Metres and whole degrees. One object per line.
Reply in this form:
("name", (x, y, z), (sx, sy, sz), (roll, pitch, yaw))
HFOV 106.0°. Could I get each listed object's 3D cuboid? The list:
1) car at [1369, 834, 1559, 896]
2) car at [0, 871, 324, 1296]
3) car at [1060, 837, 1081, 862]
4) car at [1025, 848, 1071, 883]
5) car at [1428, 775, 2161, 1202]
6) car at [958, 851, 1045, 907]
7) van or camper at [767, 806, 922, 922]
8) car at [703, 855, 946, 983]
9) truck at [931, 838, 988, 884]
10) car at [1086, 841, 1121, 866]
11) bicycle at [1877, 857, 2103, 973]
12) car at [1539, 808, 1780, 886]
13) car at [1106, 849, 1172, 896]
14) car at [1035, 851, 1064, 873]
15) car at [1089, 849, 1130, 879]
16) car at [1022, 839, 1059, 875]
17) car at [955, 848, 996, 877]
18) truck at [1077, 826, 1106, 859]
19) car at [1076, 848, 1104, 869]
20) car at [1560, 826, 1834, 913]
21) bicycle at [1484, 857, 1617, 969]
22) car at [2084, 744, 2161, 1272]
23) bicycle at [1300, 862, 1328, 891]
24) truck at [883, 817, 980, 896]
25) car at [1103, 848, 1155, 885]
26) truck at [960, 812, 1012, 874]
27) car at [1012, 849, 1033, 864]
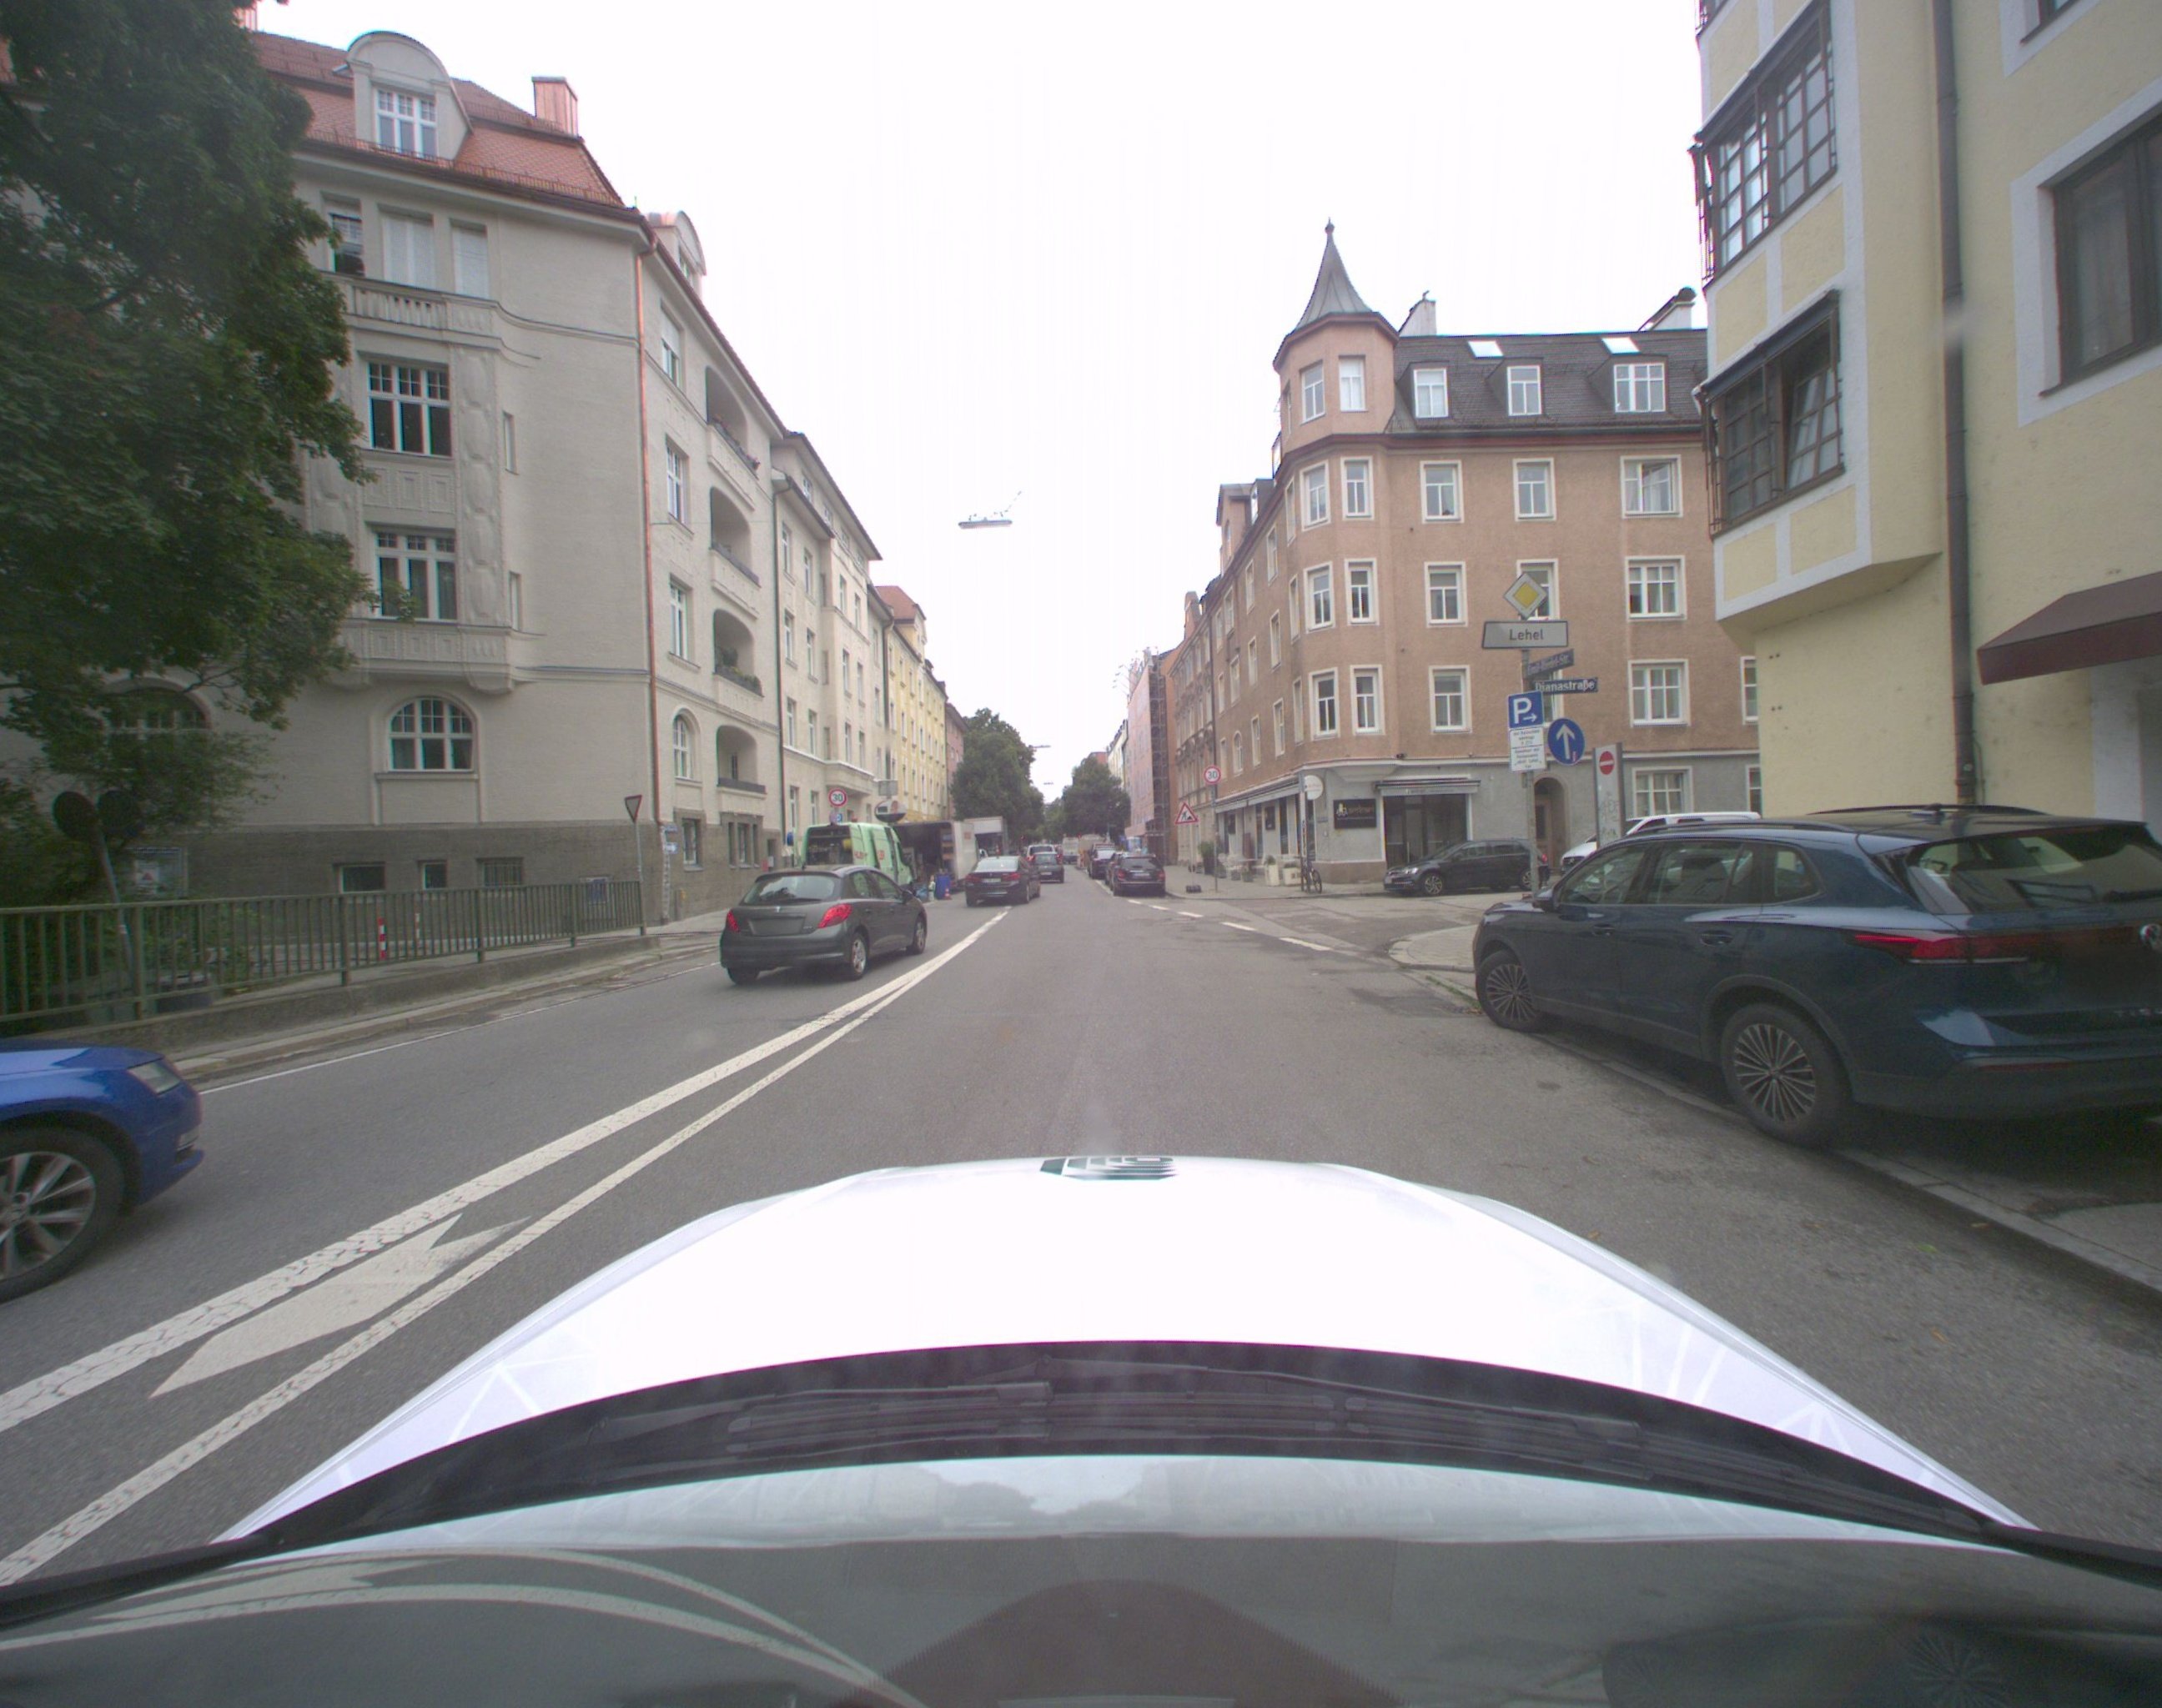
("car", (10.185, 0.314, 21.891), (4.157, 1.429, 1.924), (-2, -2, -1))
("car", (-5.011, 0.865, 1.688), (1.975, 1.454, 4.748), (-2, 0, 10))
("car", (-1.061, -0.426, 84.038), (1.933, 2.480, 4.783), (-1, 0, 1))
("car", (-1.488, 0.509, 38.669), (1.984, 1.429, 4.140), (-2, 1, 0))
("car", (4.263, 0.523, 5.590), (1.812, 1.679, 4.511), (-3, 0, 1))
("car", (-2.384, 0.715, 25.700), (1.982, 1.429, 4.910), (-2, 1, 3))
("van or camper", (-6.574, 0.186, 23.669), (2.592, 2.840, 6.185), (-2, 1, 0))
("car", (-3.428, 0.791, 11.799), (1.749, 1.461, 4.083), (-2, 0, 7))
("truck", (-6.189, 0.319, 42.192), (2.280, 2.171, 4.803), (-1, 0, -2))
("car", (1.375, -0.039, 51.132), (1.984, 1.429, 4.140), (-2, 1, 0))
("bicycle", (8.572, 0.522, 7.784), (0.270, 0.977, 1.684), (-1, 0, 0))
("car", (15.758, -0.150, 22.392), (5.112, 1.854, 2.099), (-2, -2, -1))
("car", (1.960, 0.596, 28.537), (1.839, 1.429, 4.180), (1, 1, -2))
("car", (-2.342, 0.575, 61.320), (1.984, 1.429, 4.140), (-2, 1, 0))
("car", (1.464, 0.505, 43.105), (1.839, 1.429, 4.303), (1, 1, -2))
("car", (-2.451, 0.141, 50.229), (1.984, 2.075, 4.140), (-2, 1, 0))
("car", (-6.387, 0.484, 49.718), (1.984, 1.610, 4.139), (-1, 0, 0))
("truck", (0.941, -1.069, 77.039), (2.485, 2.973, 5.324), (-1, 0, -1))
("car", (0.617, 0.317, 60.815), (1.984, 1.429, 4.140), (-2, 1, 0))
("car", (11.895, 0.255, 15.924), (4.023, 1.456, 1.747), (-2, 2, 1))
("bicycle", (5.698, 0.660, 10.026), (0.512, 1.208, 1.996), (-1, 0, 2))
("car", (4.162, 0.457, 0.346), (1.749, 1.679, 4.710), (-3, 0, 3))
("bicycle", (6.858, 0.640, 24.032), (0.455, 0.805, 1.327), (-1, 0, 1))
("truck", (-6.008, 0.027, 33.980), (2.765, 2.872, 7.198), (-2, 1, -1))
("car", (1.981, 0.485, 34.728), (1.839, 1.429, 4.137), (1, 1, -2))
("truck", (-6.542, -0.742, 57.116), (3.005, 3.951, 6.989), (-1, 0, -2))
("car", (-6.003, 0.219, 83.994), (1.934, 1.448, 3.863), (-1, 0, -2))
